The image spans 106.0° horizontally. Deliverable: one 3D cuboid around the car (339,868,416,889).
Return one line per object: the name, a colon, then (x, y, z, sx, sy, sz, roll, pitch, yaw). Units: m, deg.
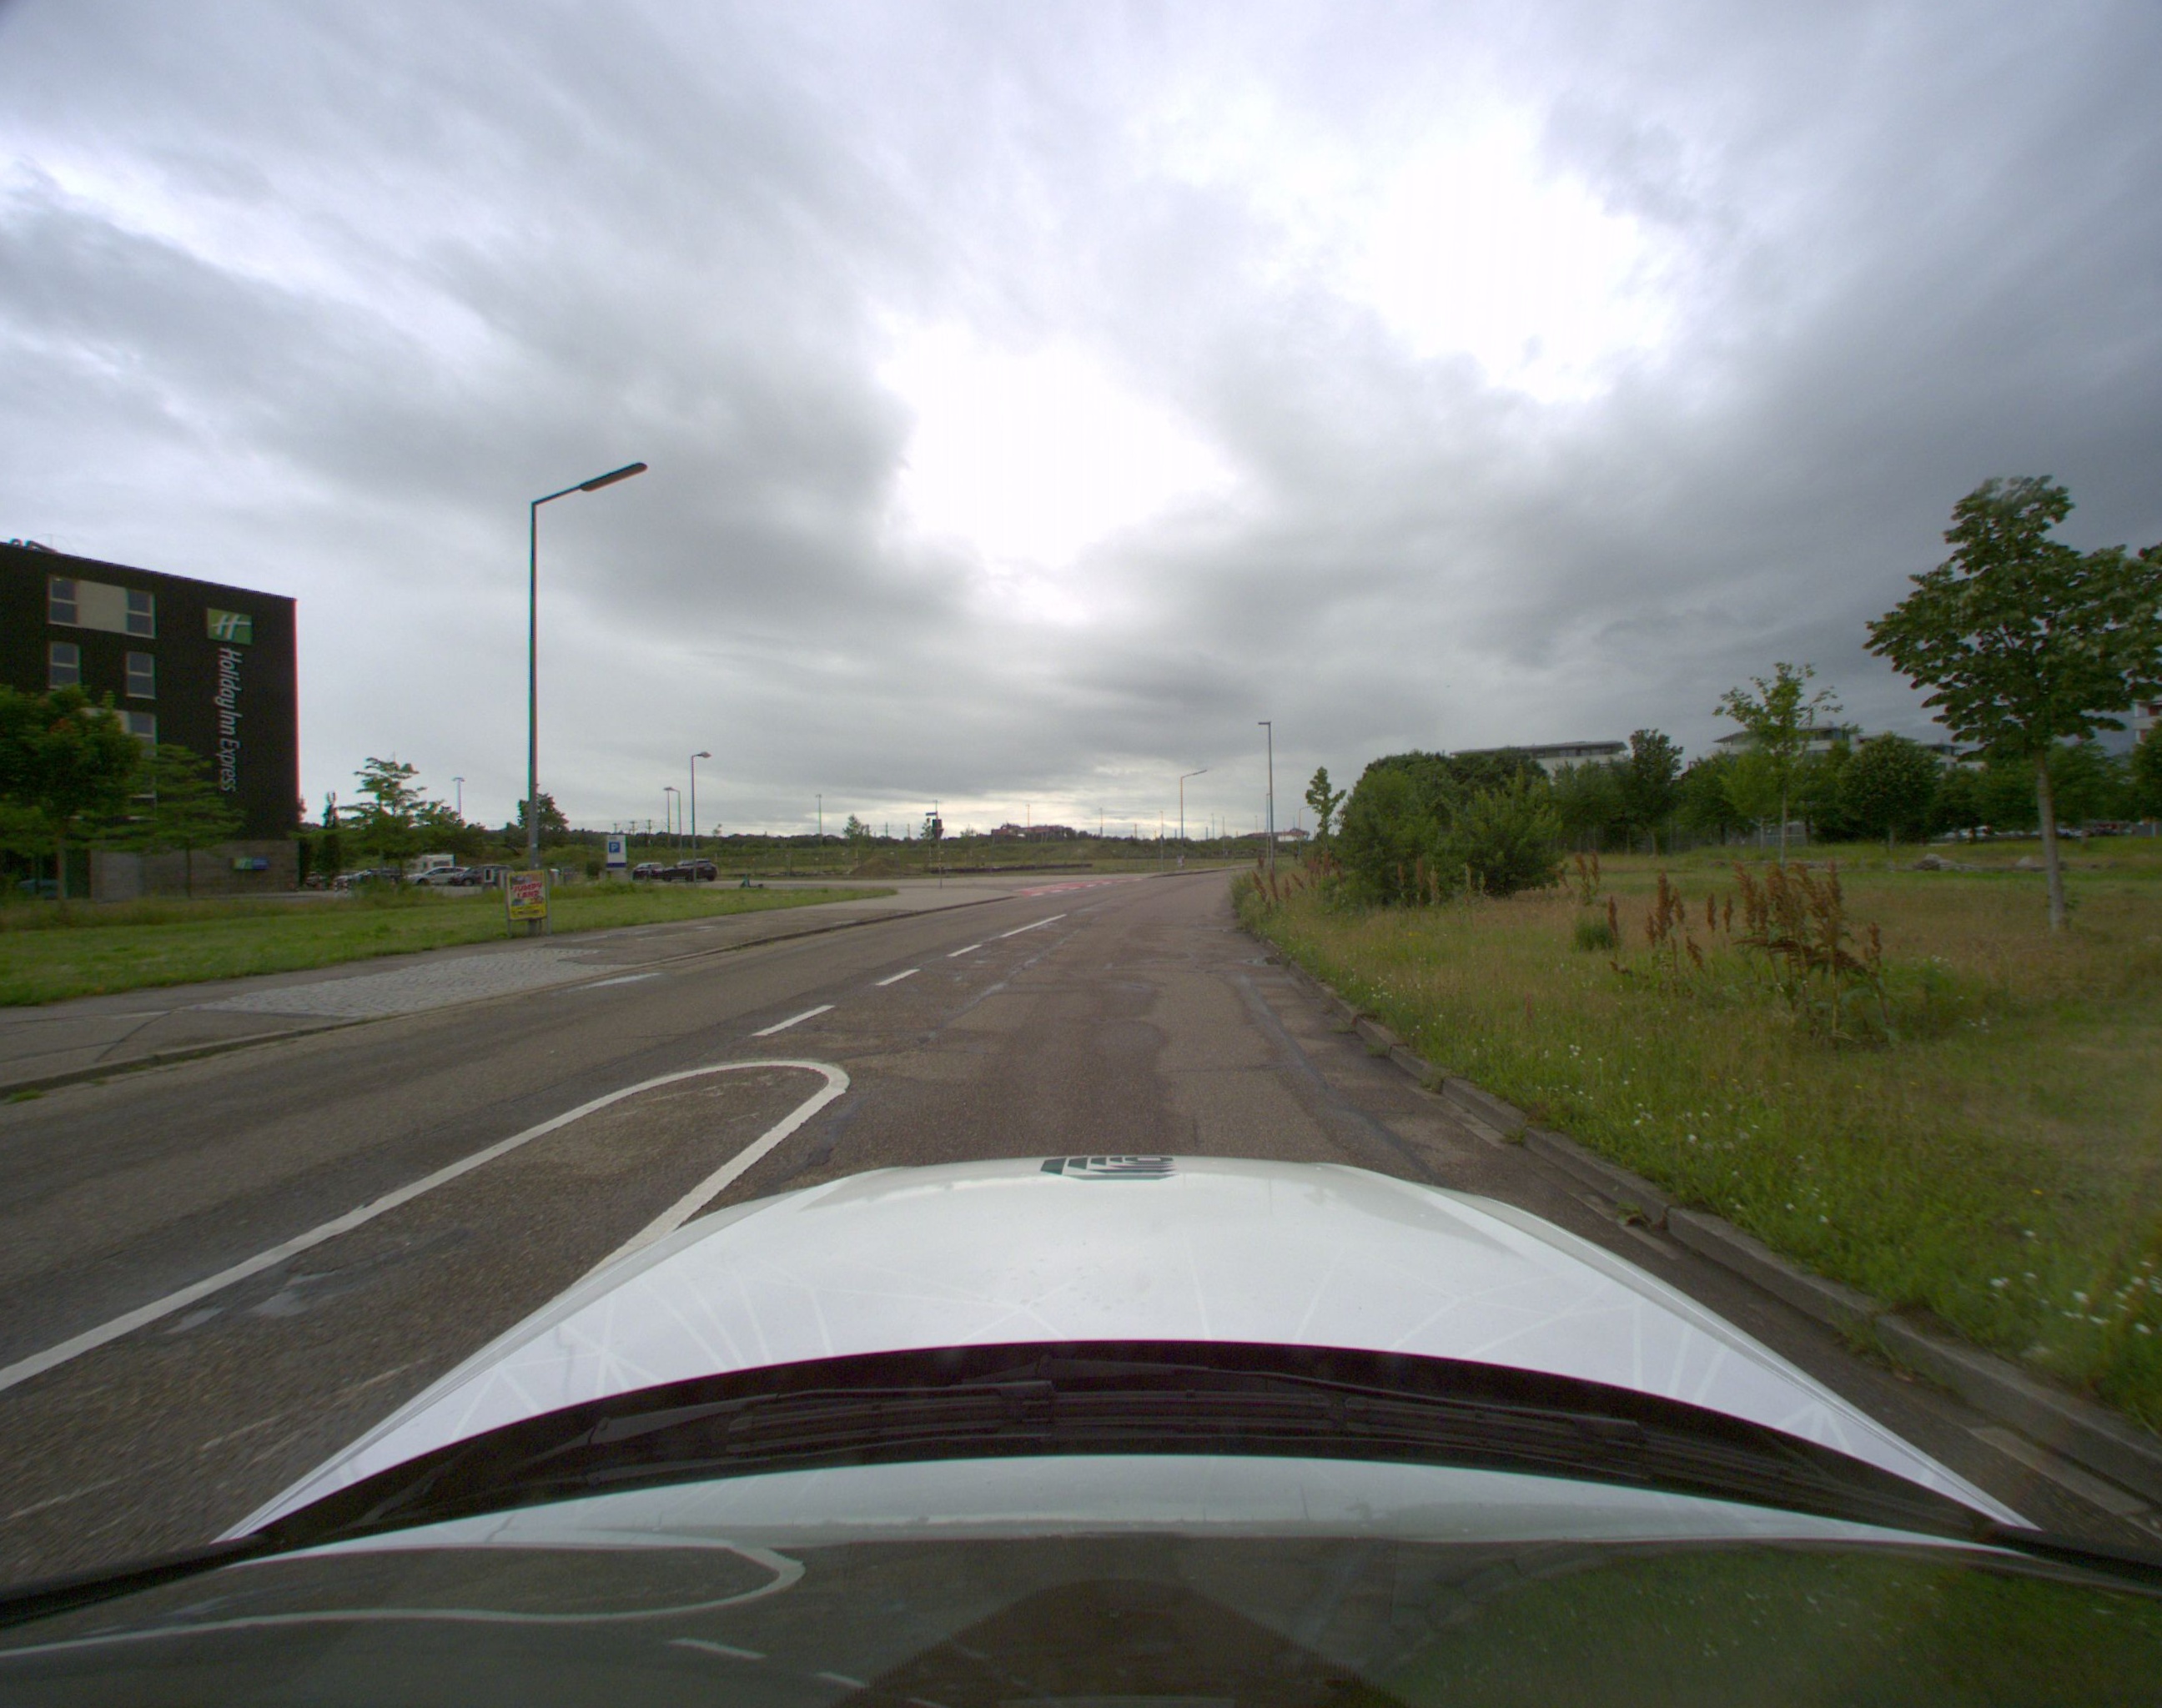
car: (-52.799, 1.829, 61.210, 1.723, 1.398, 4.024, -1, 0, 28)

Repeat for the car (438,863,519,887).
car: (-40.572, 1.385, 54.904, 1.677, 1.442, 4.025, -1, 1, 31)

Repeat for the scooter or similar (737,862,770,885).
scooter or similar: (-16.827, 1.021, 41.805, 1.455, 1.168, 0.572, 0, 0, 6)

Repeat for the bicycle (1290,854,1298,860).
bicycle: (34.179, 0.414, 130.851, 0.796, 0.907, 2.246, -1, 1, 26)

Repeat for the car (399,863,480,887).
car: (-46.531, 1.519, 59.157, 1.975, 1.517, 4.178, -1, 1, 25)

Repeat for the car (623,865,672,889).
car: (-33.427, 1.755, 62.732, 3.628, 1.752, 1.817, -1, 1, 34)

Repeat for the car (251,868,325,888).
car: (-65.167, 1.950, 66.956, 1.723, 1.458, 4.025, -1, 0, 29)

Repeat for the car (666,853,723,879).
car: (-28.538, 0.898, 60.082, 3.948, 1.822, 2.013, -1, 1, 33)

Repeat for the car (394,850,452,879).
car: (-68.897, 1.087, 85.193, 6.491, 2.956, 2.732, -1, 1, 33)

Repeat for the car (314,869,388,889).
car: (-57.777, 1.958, 64.514, 1.723, 1.398, 4.025, -1, 0, 29)

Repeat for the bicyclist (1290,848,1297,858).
bicyclist: (34.130, -0.156, 130.772, 0.775, 1.526, 1.100, -1, 0, 26)
